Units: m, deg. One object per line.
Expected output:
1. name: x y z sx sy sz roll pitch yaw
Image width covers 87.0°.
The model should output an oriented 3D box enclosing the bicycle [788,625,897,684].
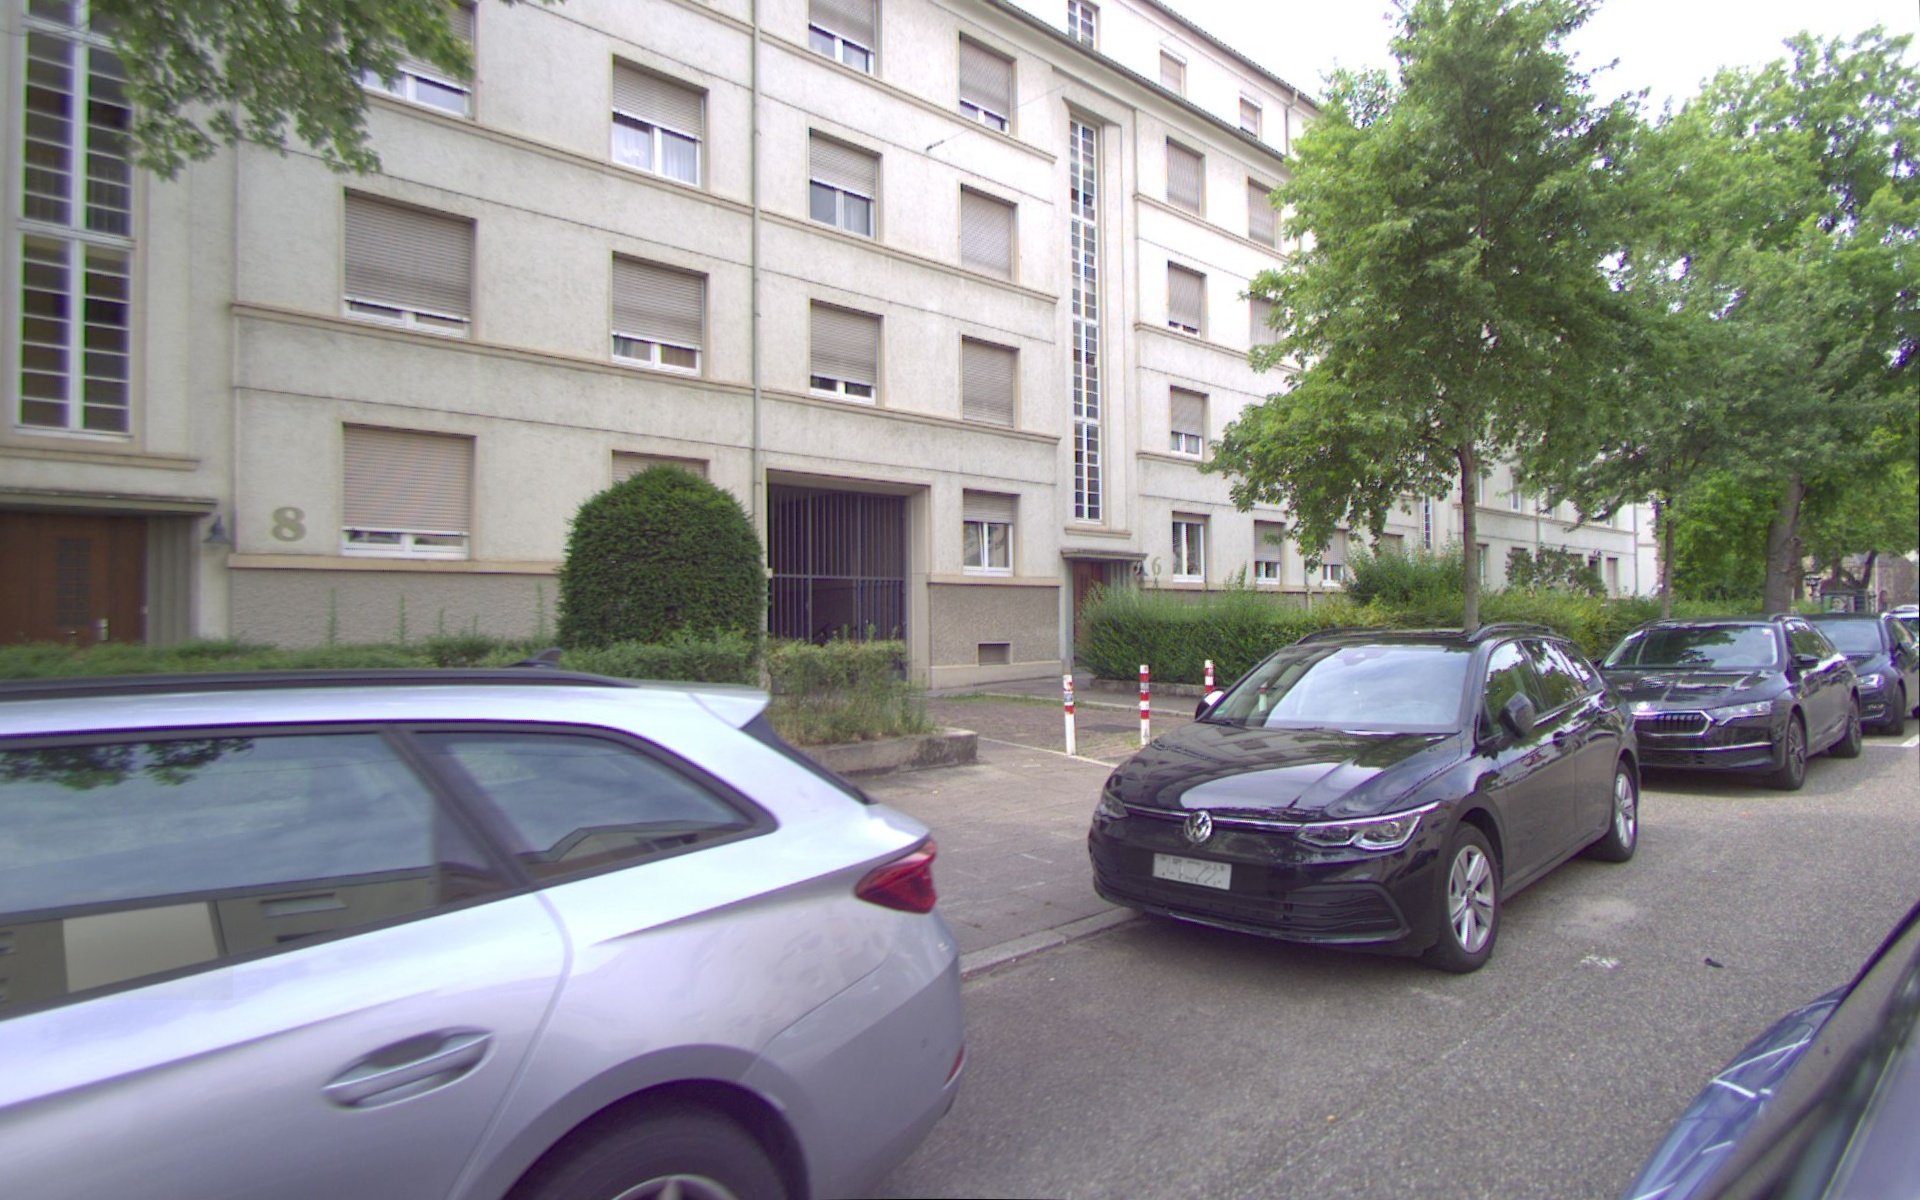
1. bicycle: -2.393 1.056 20.242 0.862 1.090 2.656 1 -2 -40

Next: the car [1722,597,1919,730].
1. car: 11.598 0.736 13.227 4.028 1.488 1.700 0 -2 -40

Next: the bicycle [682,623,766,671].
1. bicycle: -5.713 1.098 24.358 0.862 1.090 2.656 1 -2 -40

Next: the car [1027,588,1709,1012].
1. car: 2.637 0.733 5.787 4.672 1.488 1.699 0 -2 -42

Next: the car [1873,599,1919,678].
1. car: 19.494 0.711 20.017 4.031 1.468 1.699 0 -2 -42

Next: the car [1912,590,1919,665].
1. car: 22.934 0.562 22.819 3.736 1.629 1.607 0 -3 -39

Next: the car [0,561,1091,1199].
1. car: -1.992 0.732 1.558 4.636 1.488 1.699 0 -2 -41

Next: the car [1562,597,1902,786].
1. car: 7.837 0.754 10.111 4.478 1.488 1.700 0 -2 -40
